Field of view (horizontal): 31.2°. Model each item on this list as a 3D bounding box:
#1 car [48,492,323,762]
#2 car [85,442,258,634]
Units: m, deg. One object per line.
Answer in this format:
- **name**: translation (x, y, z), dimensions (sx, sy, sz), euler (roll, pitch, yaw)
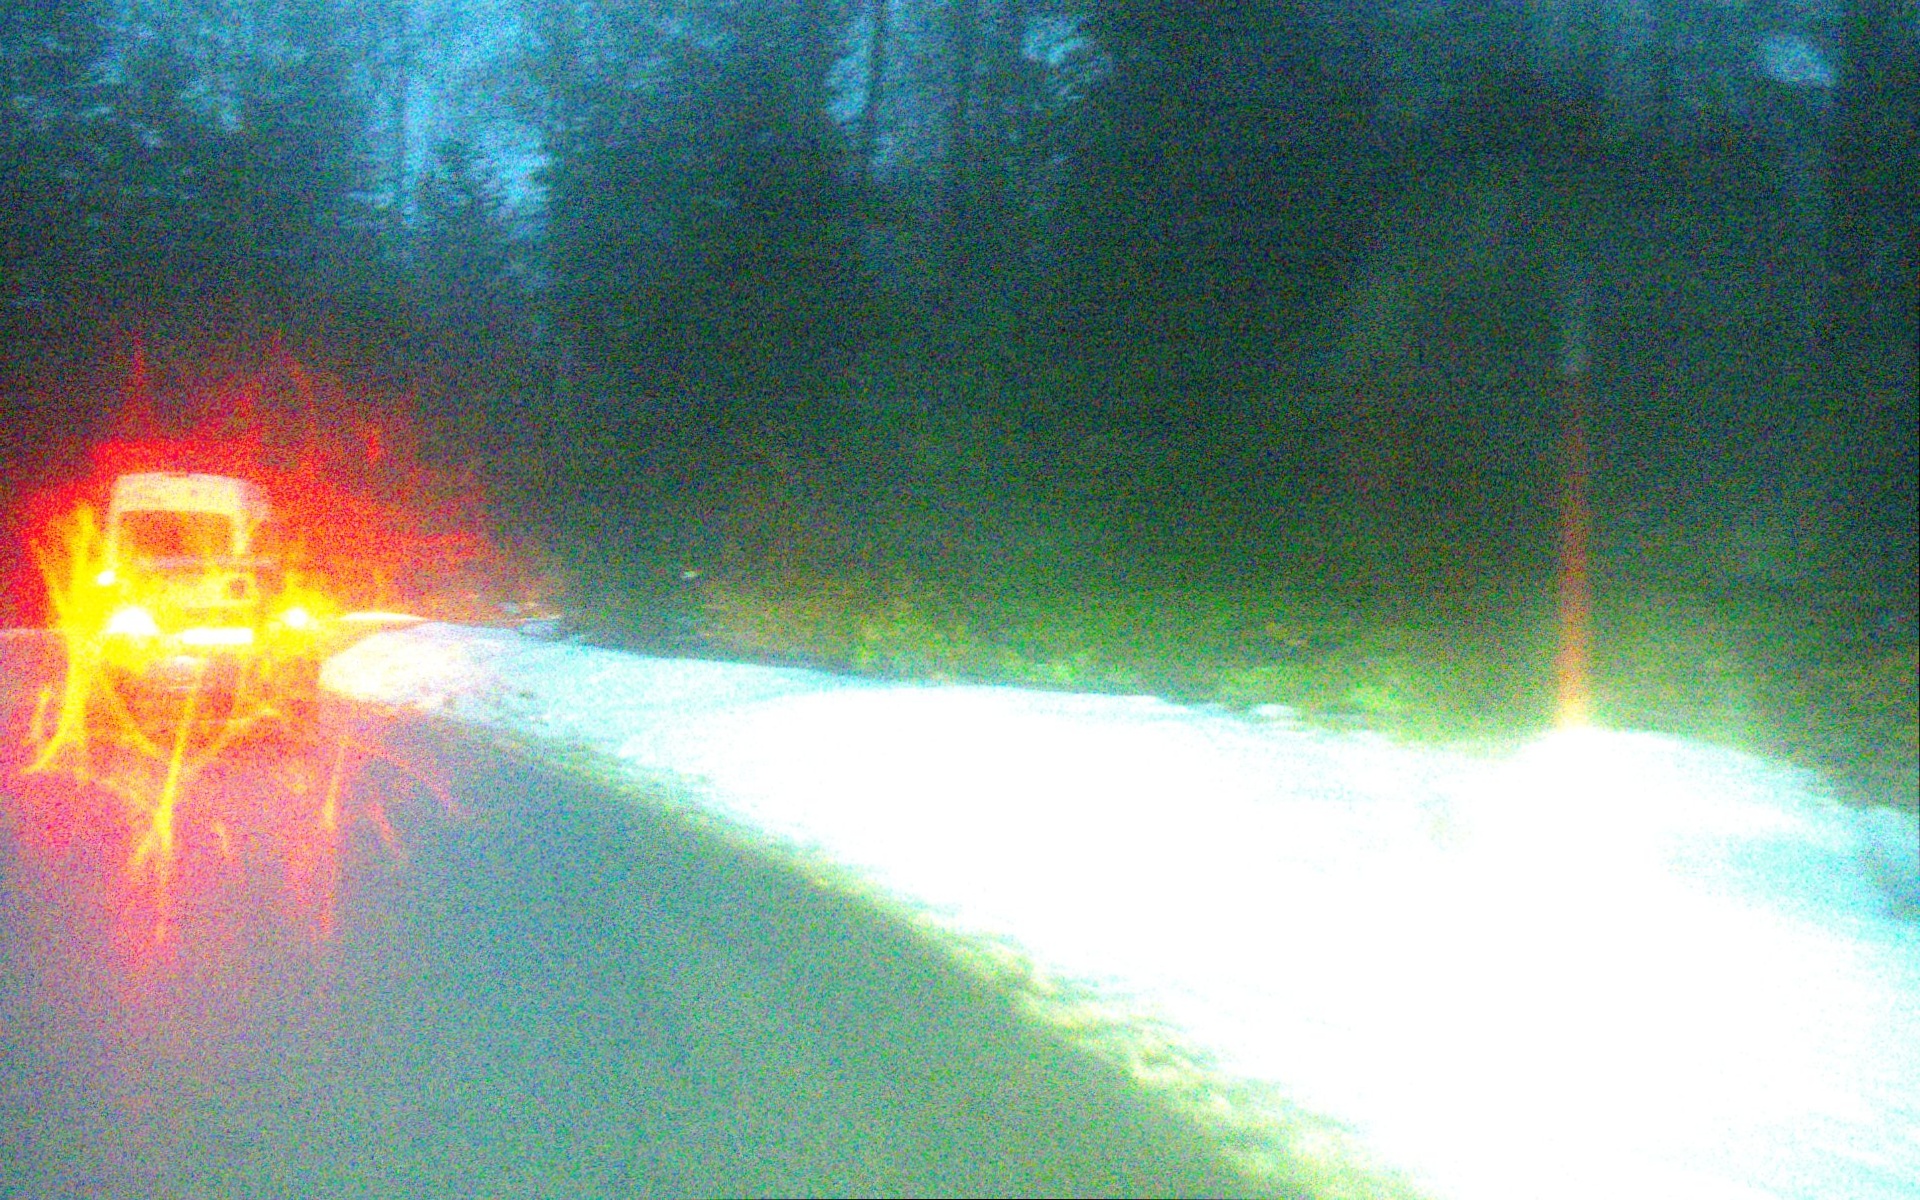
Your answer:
- **car**: translation (-6.367, 0.196, 28.631), dimensions (1.993, 2.045, 4.001), euler (-1, 0, -10)
- **car**: translation (-11.361, -0.872, 49.821), dimensions (2.251, 2.636, 5.007), euler (0, 0, -11)
